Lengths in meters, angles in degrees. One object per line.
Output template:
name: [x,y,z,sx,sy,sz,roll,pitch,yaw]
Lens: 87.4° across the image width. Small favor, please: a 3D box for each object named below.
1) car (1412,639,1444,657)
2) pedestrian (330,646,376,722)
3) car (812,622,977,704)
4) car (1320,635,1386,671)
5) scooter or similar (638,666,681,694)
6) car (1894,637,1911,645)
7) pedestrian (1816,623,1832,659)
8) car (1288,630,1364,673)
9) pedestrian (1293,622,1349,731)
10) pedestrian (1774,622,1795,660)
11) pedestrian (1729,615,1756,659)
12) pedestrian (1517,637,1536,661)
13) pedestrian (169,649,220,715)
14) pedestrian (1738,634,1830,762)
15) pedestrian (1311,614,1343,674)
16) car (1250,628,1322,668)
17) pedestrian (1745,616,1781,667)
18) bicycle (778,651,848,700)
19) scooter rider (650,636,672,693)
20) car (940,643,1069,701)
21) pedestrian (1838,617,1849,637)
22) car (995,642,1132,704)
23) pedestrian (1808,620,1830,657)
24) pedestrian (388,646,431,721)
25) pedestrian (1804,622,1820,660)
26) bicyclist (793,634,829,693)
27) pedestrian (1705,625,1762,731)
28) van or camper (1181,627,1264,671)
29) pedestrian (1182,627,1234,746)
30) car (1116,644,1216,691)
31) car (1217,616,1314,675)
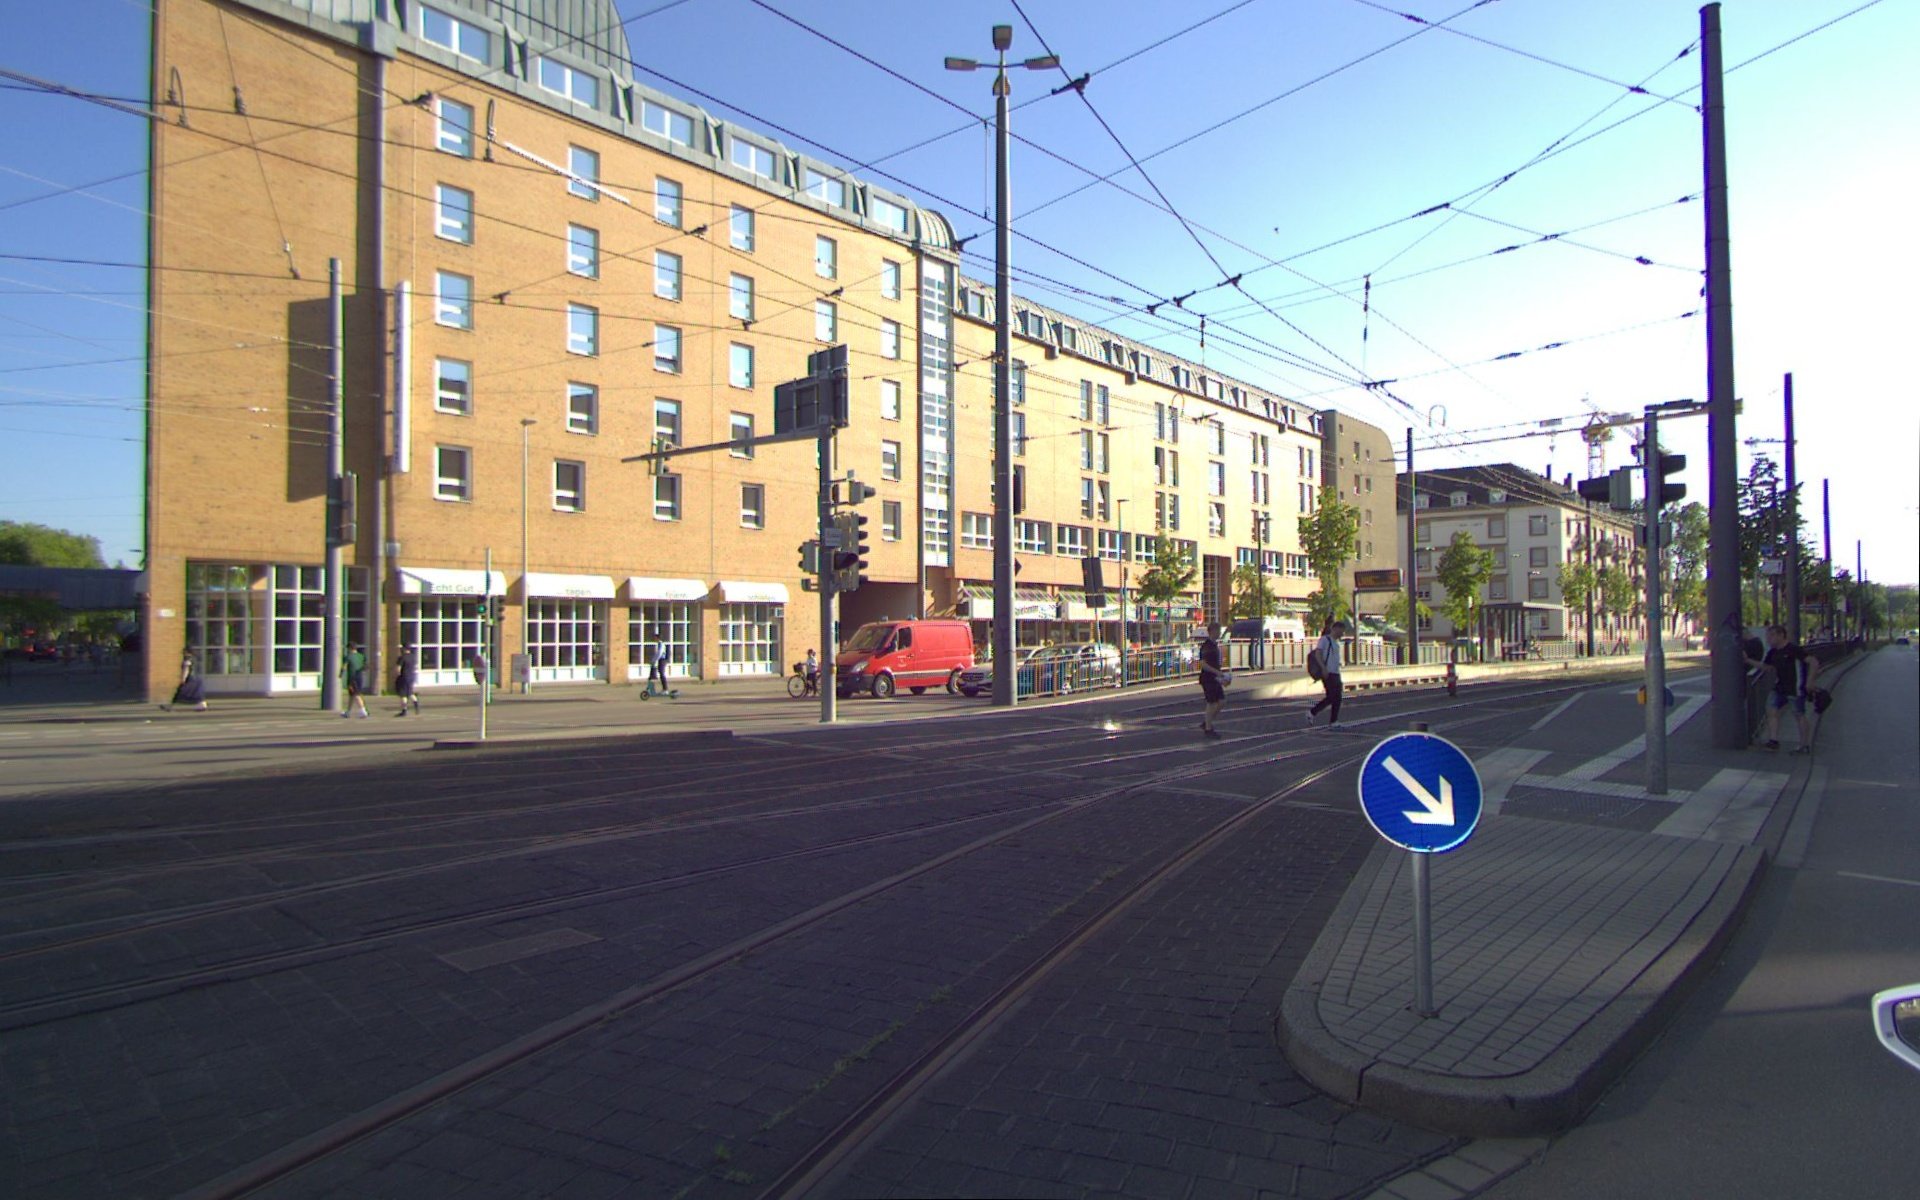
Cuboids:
car: [43.956,4.471,94.285,1.814,1.606,4.140,-2,-2,38]
pedestrian: [-14.216,1.949,23.528,0.766,1.740,0.639,0,-2,-18]
car: [-1.933,1.905,31.295,2.055,2.319,5.238,-2,-3,41]
car: [22.129,2.938,56.494,4.287,1.891,1.868,0,-2,-44]
scooter or similar: [-9.484,2.509,31.694,1.224,0.842,0.541,1,-2,-29]
car: [165.968,7.203,176.870,3.967,1.483,1.783,2,-3,-40]
pedestrian: [41.566,1.982,48.328,0.499,1.701,0.648,-2,-3,43]
car: [17.351,2.408,47.517,1.866,1.891,4.291,-3,-2,43]
pedestrian: [5.966,1.251,16.587,0.632,1.740,0.775,-2,-3,39]
pedestrian: [39.022,1.943,47.529,0.712,1.754,0.648,-2,-3,43]
pedestrian: [27.440,1.293,35.218,0.675,1.503,0.824,-2,-2,43]
pedestrian: [29.005,2.524,51.441,0.665,1.205,0.901,-2,-3,43]
pedestrian: [-18.593,1.975,24.391,0.537,1.573,0.866,-2,-2,38]
pedestrian: [10.509,1.223,12.812,0.844,1.559,0.707,1,-3,-38]
pedestrian: [10.628,1.273,29.072,0.572,1.706,0.671,1,-3,-42]
car: [16.506,2.383,50.747,1.865,1.891,4.293,-2,-2,41]
pedestrian: [27.340,1.403,34.198,0.878,1.694,0.668,-2,-3,42]
bicycle: [-4.638,2.373,31.838,0.920,1.461,2.092,-2,-3,42]
scooter rider: [-9.459,2.034,31.726,0.564,1.778,0.530,1,-2,-29]
car: [1.410,2.124,30.536,1.865,1.553,3.979,-3,-2,41]
pedestrian: [72.399,2.212,82.332,0.648,1.664,0.862,-1,-3,43]
car: [2.883,1.940,27.429,1.737,1.467,3.979,-3,-2,41]
pedestrian: [37.670,1.694,44.067,0.665,1.582,0.901,-2,-3,43]
pedestrian: [-13.158,1.987,24.032,0.766,1.740,0.639,0,-2,-18]
pedestrian: [39.929,1.909,47.055,0.499,1.754,0.648,-2,-3,43]
bicyclist: [-4.710,1.996,31.829,0.806,1.810,0.811,-2,-3,43]
pedestrian: [11.727,1.170,15.236,0.545,1.559,0.486,1,-2,-32]
van or camper: [14.834,2.726,56.658,1.973,2.198,5.579,-2,-1,45]
pedestrian: [3.725,1.270,15.063,0.612,1.724,0.749,-1,-2,25]
car: [7.585,2.430,36.840,1.865,1.553,3.979,-3,-2,41]
car: [13.076,1.914,42.802,2.023,2.389,4.893,-2,-3,42]
